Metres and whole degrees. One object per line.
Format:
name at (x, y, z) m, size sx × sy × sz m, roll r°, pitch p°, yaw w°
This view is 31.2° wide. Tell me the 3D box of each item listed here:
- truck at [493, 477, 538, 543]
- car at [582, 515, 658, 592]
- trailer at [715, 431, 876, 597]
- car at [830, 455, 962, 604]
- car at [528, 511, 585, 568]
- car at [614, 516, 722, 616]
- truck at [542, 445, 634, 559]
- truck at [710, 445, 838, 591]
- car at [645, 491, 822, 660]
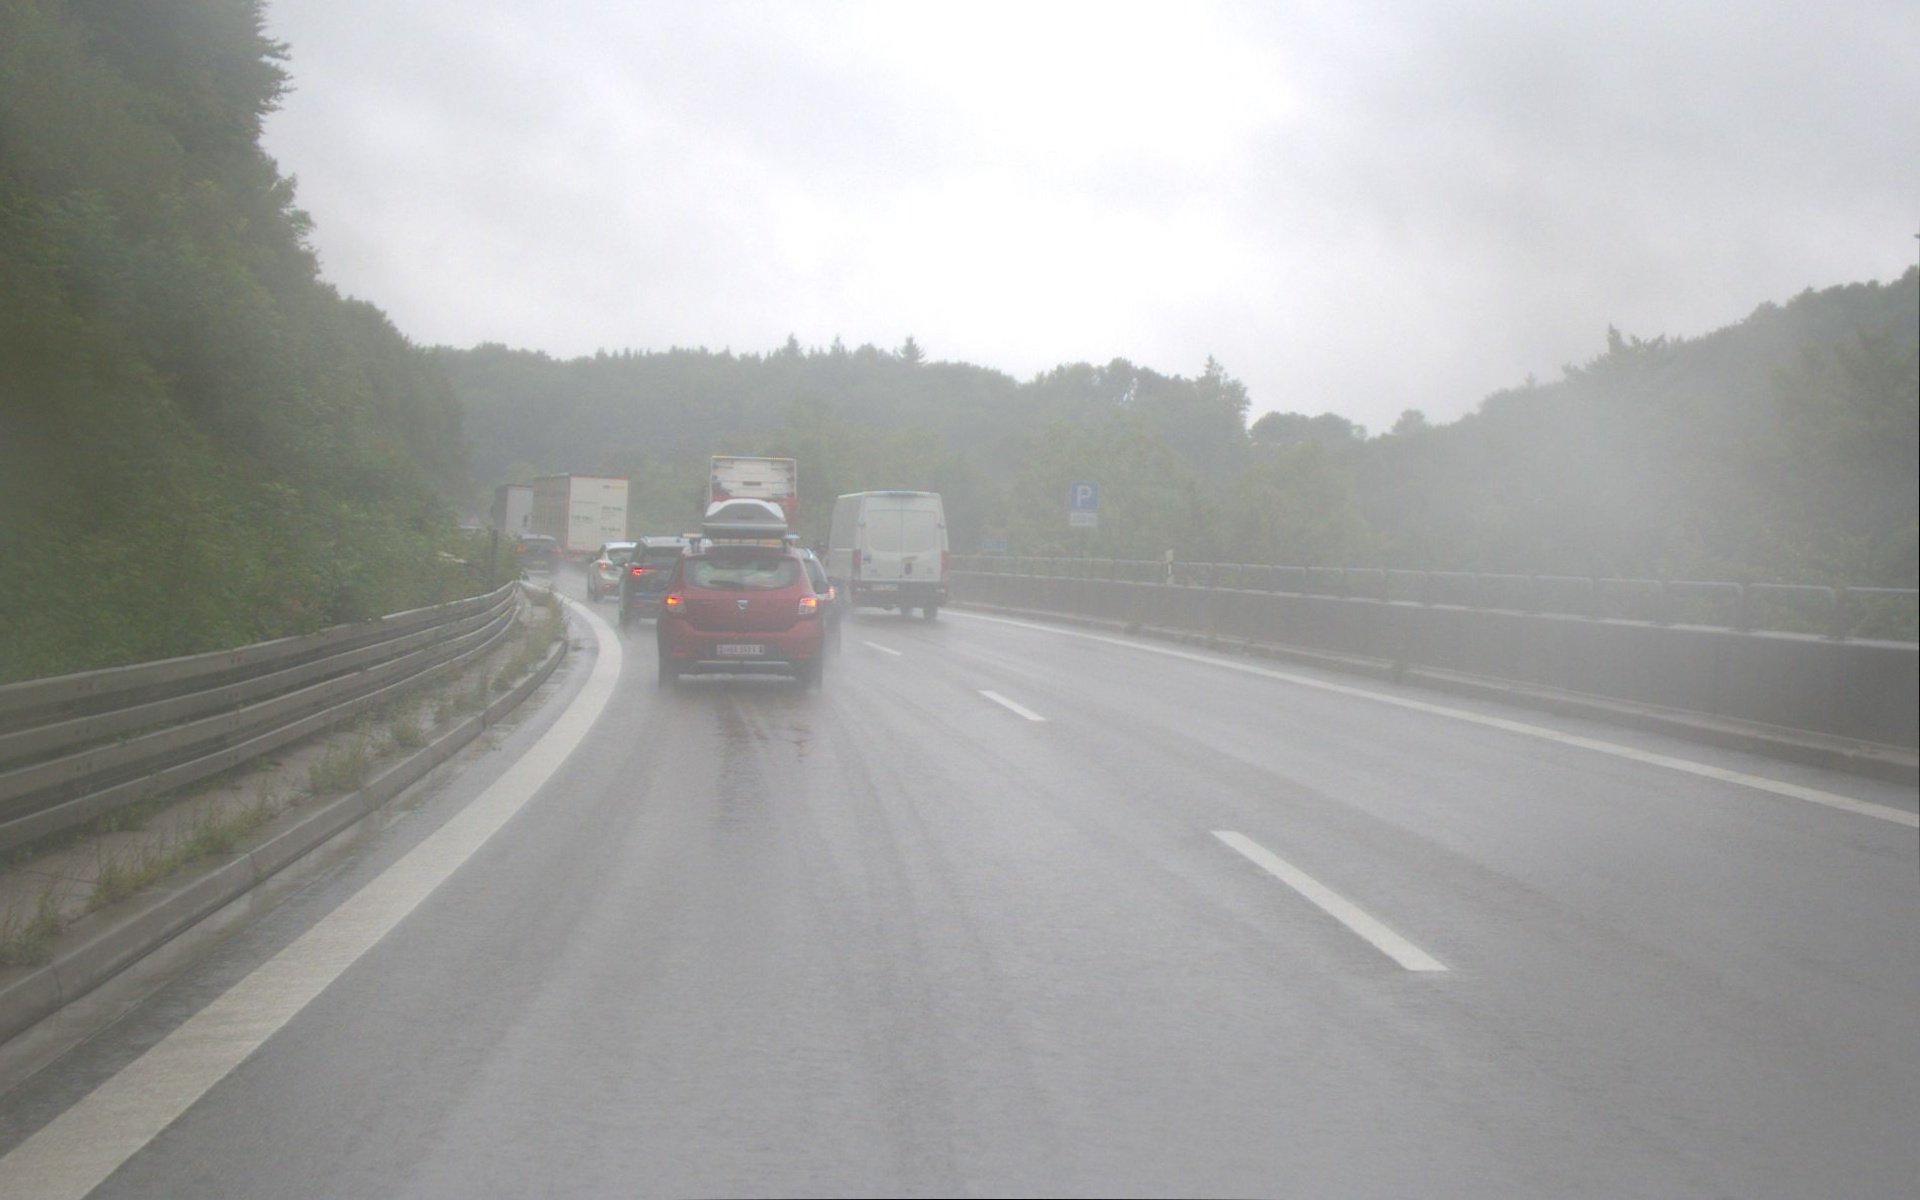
truck at (-23.791, -4.781, 183.901) m, size 2.104 × 3.409 × 6.224 m, roll 1°, pitch 1°, yaw -9°
car at (-8.300, -1.125, 83.785) m, size 1.715 × 1.811 × 3.893 m, roll 1°, pitch 1°, yaw -7°
trailer at (-4.612, -2.271, 93.058) m, size 3.218 × 3.985 × 13.527 m, roll 3°, pitch 1°, yaw -7°
car at (-1.403, -1.433, 71.711) m, size 2.206 × 2.784 × 7.383 m, roll 4°, pitch 0°, yaw -4°
car at (-14.797, -2.200, 126.114) m, size 1.993 × 2.007 × 4.001 m, roll 1°, pitch 1°, yaw -7°
car at (-5.152, -0.606, 60.799) m, size 1.822 × 1.690 × 4.001 m, roll 1°, pitch 1°, yaw -4°
truck at (-16.044, -4.151, 147.917) m, size 3.222 × 4.666 × 8.302 m, roll 1°, pitch 1°, yaw -11°
truck at (-5.475, -2.372, 100.383) m, size 3.219 × 3.964 × 5.440 m, roll 3°, pitch 0°, yaw -7°
car at (-2.400, -0.268, 36.729) m, size 1.758 × 1.679 × 4.001 m, roll 1°, pitch 1°, yaw -3°
